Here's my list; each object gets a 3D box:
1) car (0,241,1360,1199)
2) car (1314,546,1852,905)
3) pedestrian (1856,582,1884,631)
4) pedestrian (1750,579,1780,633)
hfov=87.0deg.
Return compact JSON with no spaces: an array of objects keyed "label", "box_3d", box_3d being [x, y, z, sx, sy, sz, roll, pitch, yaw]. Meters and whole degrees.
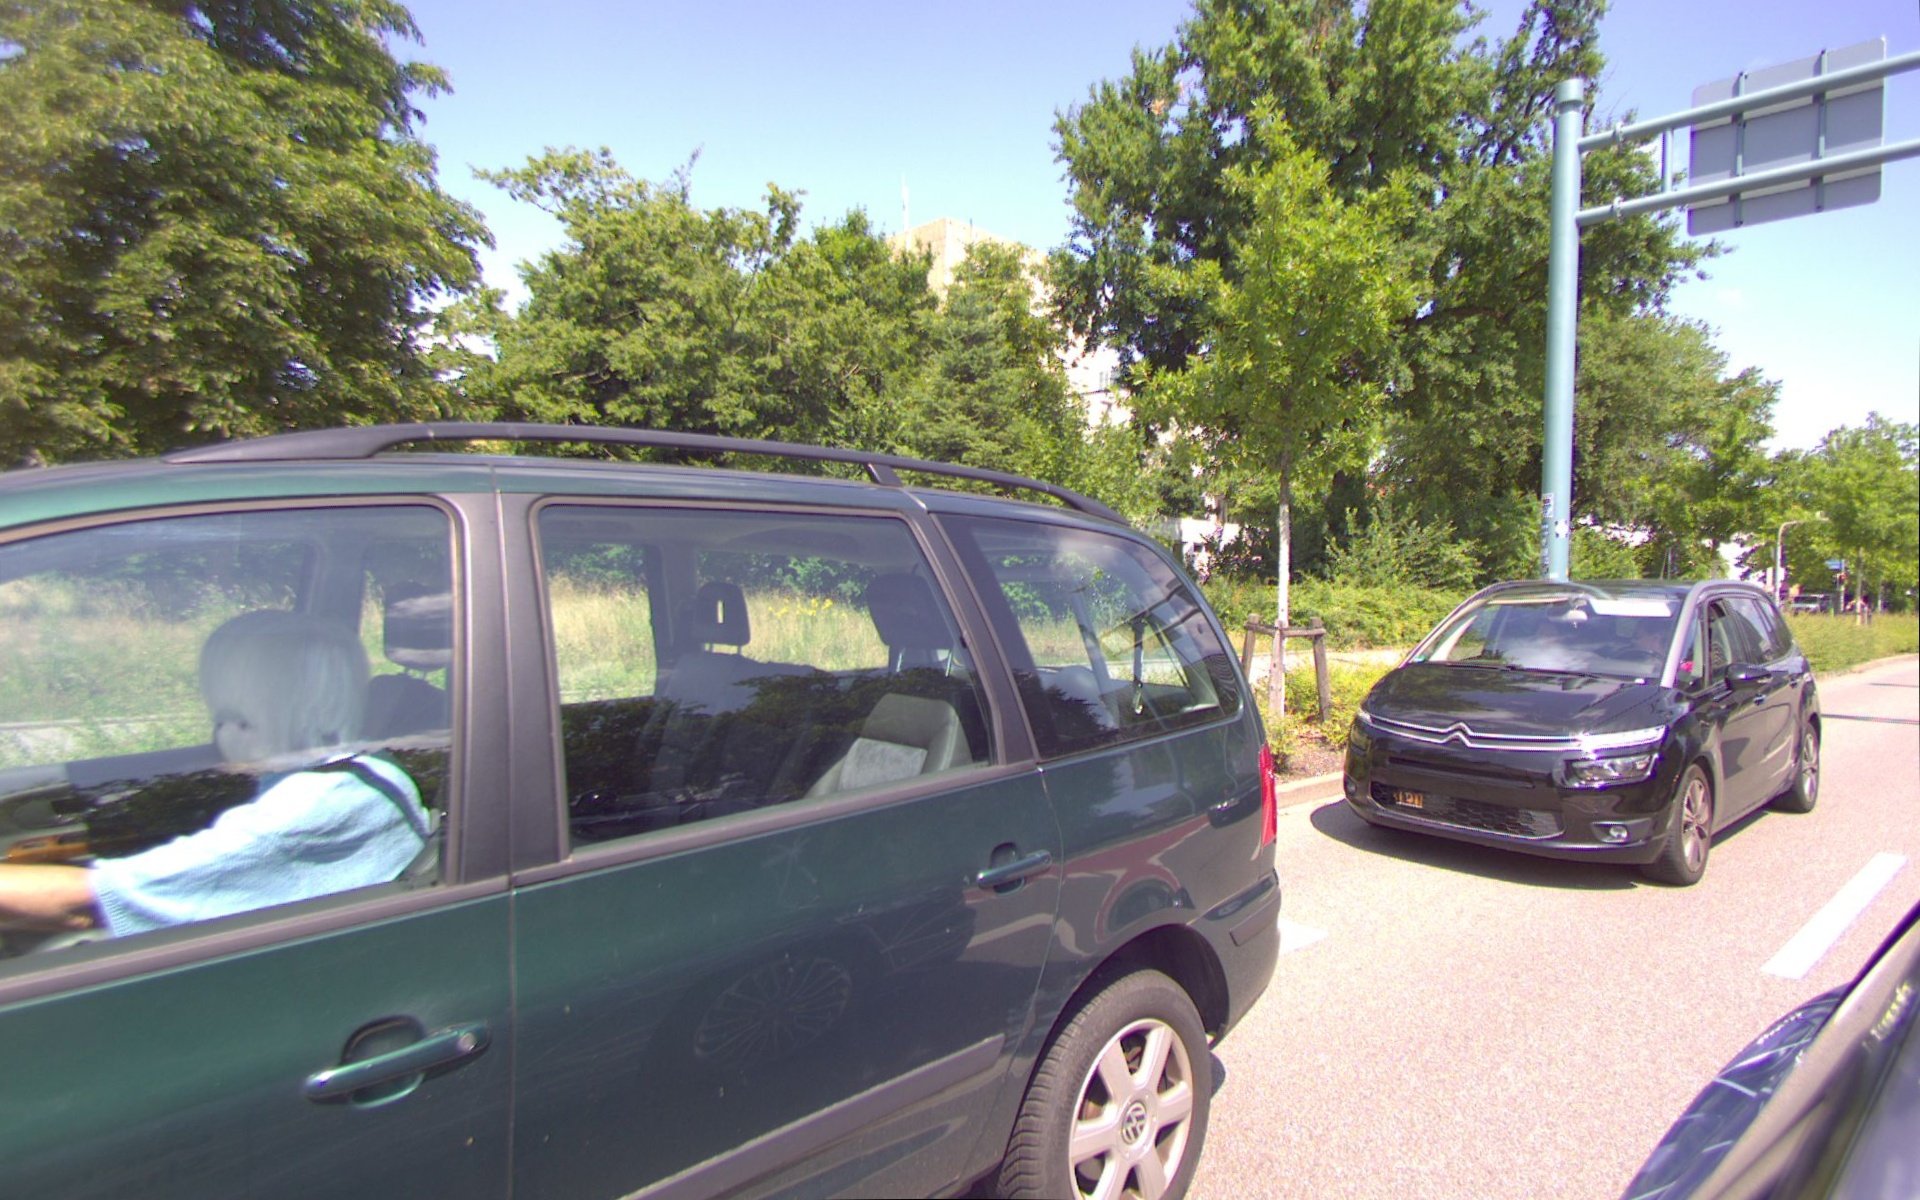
[{"label":"car","box_3d":[-1.136,0.530,1.973,4.315,1.737,1.804,0,-1,-41]},{"label":"car","box_3d":[4.342,0.583,6.736,4.400,1.628,1.815,1,-1,-41]},{"label":"pedestrian","box_3d":[34.439,0.238,38.315,0.635,1.787,0.876,2,1,34]},{"label":"pedestrian","box_3d":[31.669,0.235,39.822,0.842,2.063,0.888,2,1,41]}]
